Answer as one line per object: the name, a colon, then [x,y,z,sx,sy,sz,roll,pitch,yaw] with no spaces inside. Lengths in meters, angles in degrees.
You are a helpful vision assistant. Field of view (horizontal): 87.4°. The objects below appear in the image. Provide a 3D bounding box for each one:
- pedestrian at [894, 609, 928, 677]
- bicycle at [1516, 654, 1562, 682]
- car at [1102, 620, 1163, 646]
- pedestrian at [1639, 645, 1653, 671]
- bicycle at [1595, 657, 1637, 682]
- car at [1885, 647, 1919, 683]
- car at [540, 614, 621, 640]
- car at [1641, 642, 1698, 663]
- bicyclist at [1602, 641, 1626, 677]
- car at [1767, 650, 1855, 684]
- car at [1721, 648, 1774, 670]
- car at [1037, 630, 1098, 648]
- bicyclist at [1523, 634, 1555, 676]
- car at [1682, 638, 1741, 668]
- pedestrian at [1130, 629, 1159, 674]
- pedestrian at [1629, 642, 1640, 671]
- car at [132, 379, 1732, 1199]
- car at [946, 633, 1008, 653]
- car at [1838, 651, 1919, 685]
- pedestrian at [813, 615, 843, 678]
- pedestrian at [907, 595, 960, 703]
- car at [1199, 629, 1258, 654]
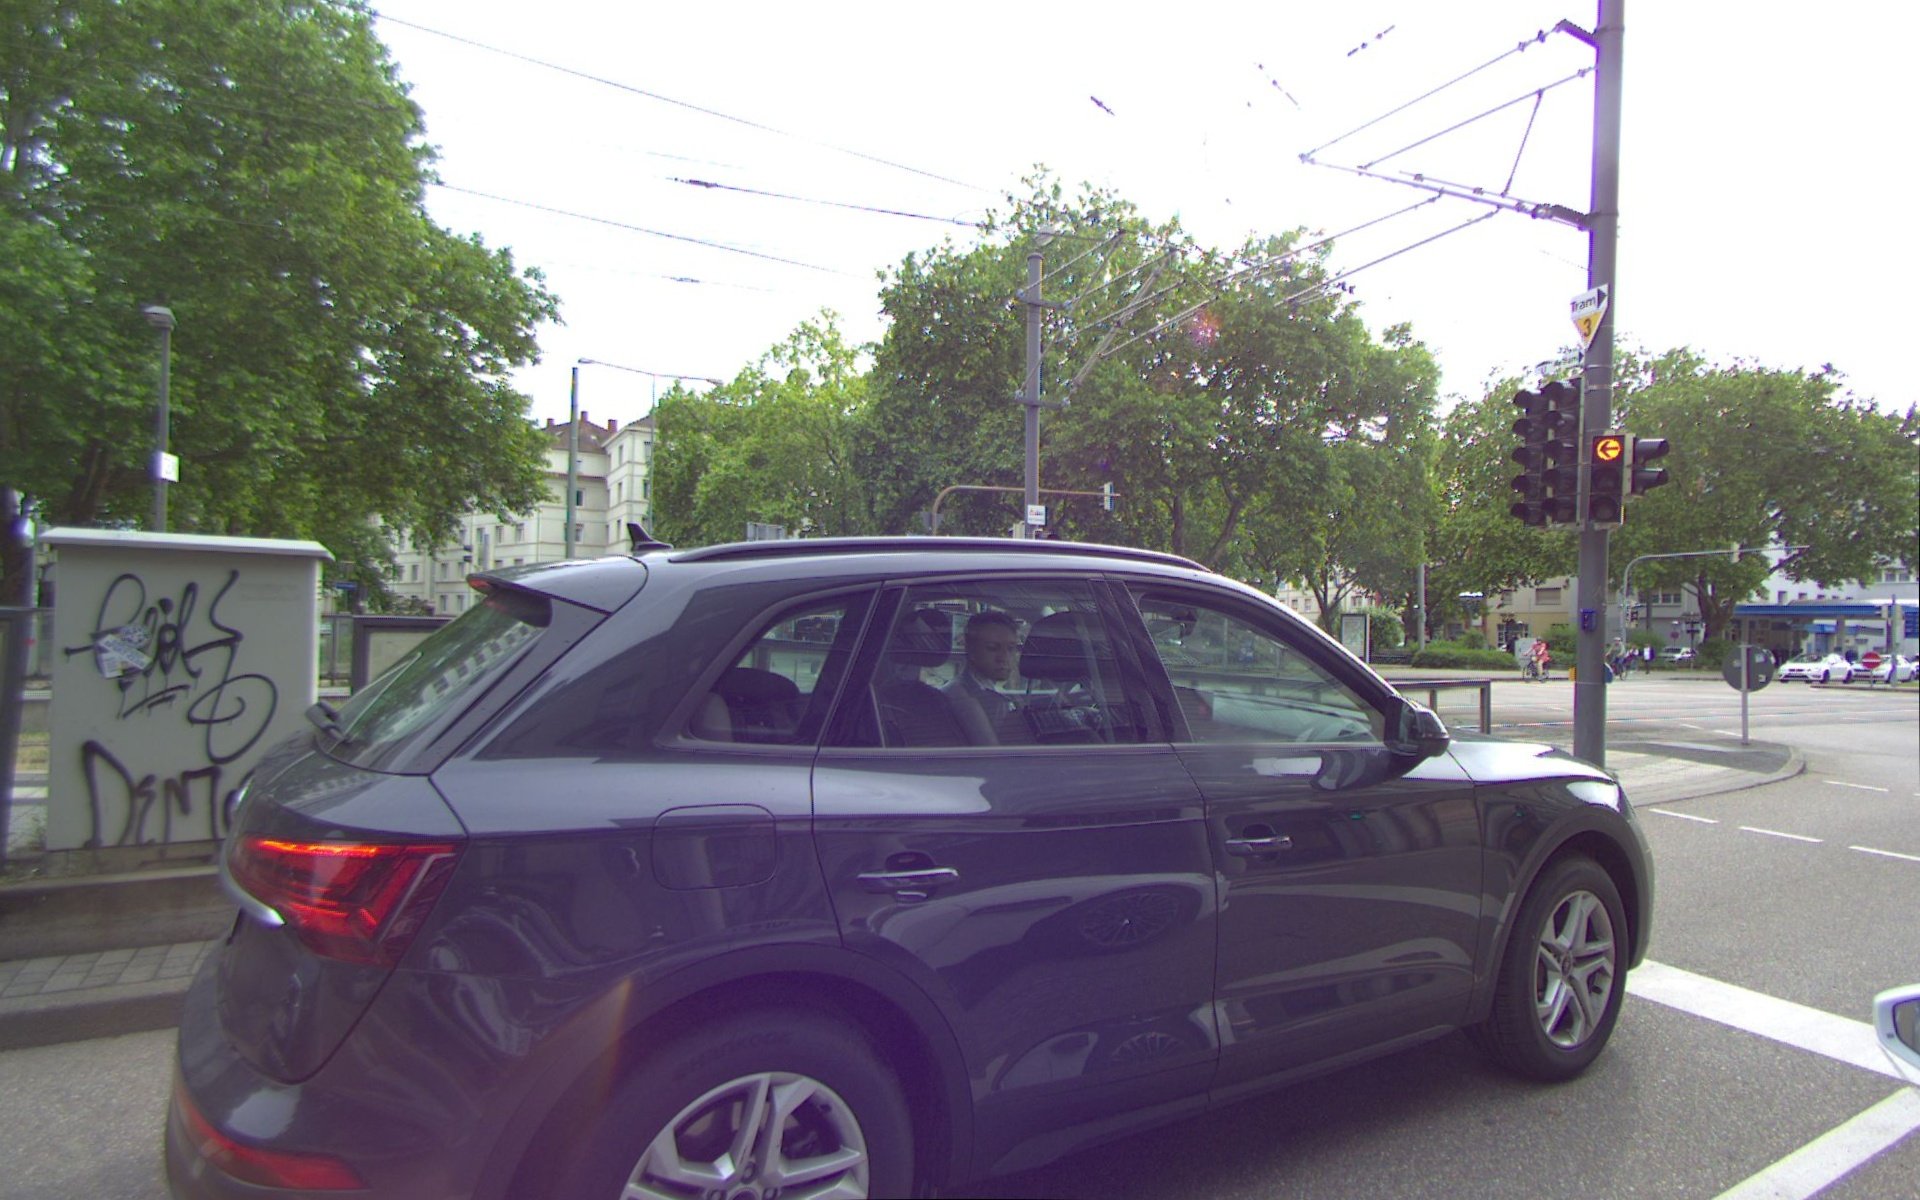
pedestrian: [-1.425,1.242,29.163,0.680,1.911,0.684,2,0,-28]
bicycle: [23.029,2.713,39.919,1.970,1.078,0.723,3,-4,-31]
car: [14.648,2.806,85.293,4.766,2.129,2.071,0,-2,44]
pedestrian: [35.588,3.008,52.125,0.465,1.343,0.452,2,-1,-36]
bicycle: [28.850,3.043,44.192,1.969,1.078,0.724,3,-4,-30]
car: [52.777,3.563,54.970,5.088,1.807,1.694,2,0,-30]
car: [-26.124,1.888,69.210,4.789,1.685,1.979,3,-2,-38]
car: [52.020,3.863,73.657,3.953,1.486,1.984,2,-1,-30]
bicyclist: [28.739,2.584,44.122,0.748,1.582,0.580,2,-3,-30]
car: [40.750,3.202,48.082,4.362,1.467,1.833,2,0,-30]
car: [53.868,4.015,68.700,3.363,1.376,1.694,2,0,-30]
car: [8.913,3.229,83.608,4.766,1.408,2.071,0,-2,44]
bicyclist: [23.021,2.194,39.962,0.983,1.659,0.702,2,-3,-31]
car: [53.228,3.740,71.127,3.953,2.040,1.984,2,-2,-30]
pedestrian: [7.261,2.015,39.538,0.748,1.712,0.799,2,-1,-34]
pedestrian: [35.286,2.930,52.562,0.370,1.498,0.358,2,-1,-36]
car: [0.330,0.613,3.223,4.317,1.669,1.902,2,0,-30]
car: [1.290,3.336,78.391,4.766,1.408,2.071,0,-2,44]
car: [47.229,3.449,51.336,5.636,1.546,1.832,2,0,-30]
pedestrian: [-3.488,1.221,26.515,0.517,1.633,0.523,2,0,28]
pedestrian: [-0.453,0.820,16.948,0.619,1.773,0.651,2,0,-28]
car: [24.392,3.765,91.289,4.766,2.129,2.071,0,-2,44]
